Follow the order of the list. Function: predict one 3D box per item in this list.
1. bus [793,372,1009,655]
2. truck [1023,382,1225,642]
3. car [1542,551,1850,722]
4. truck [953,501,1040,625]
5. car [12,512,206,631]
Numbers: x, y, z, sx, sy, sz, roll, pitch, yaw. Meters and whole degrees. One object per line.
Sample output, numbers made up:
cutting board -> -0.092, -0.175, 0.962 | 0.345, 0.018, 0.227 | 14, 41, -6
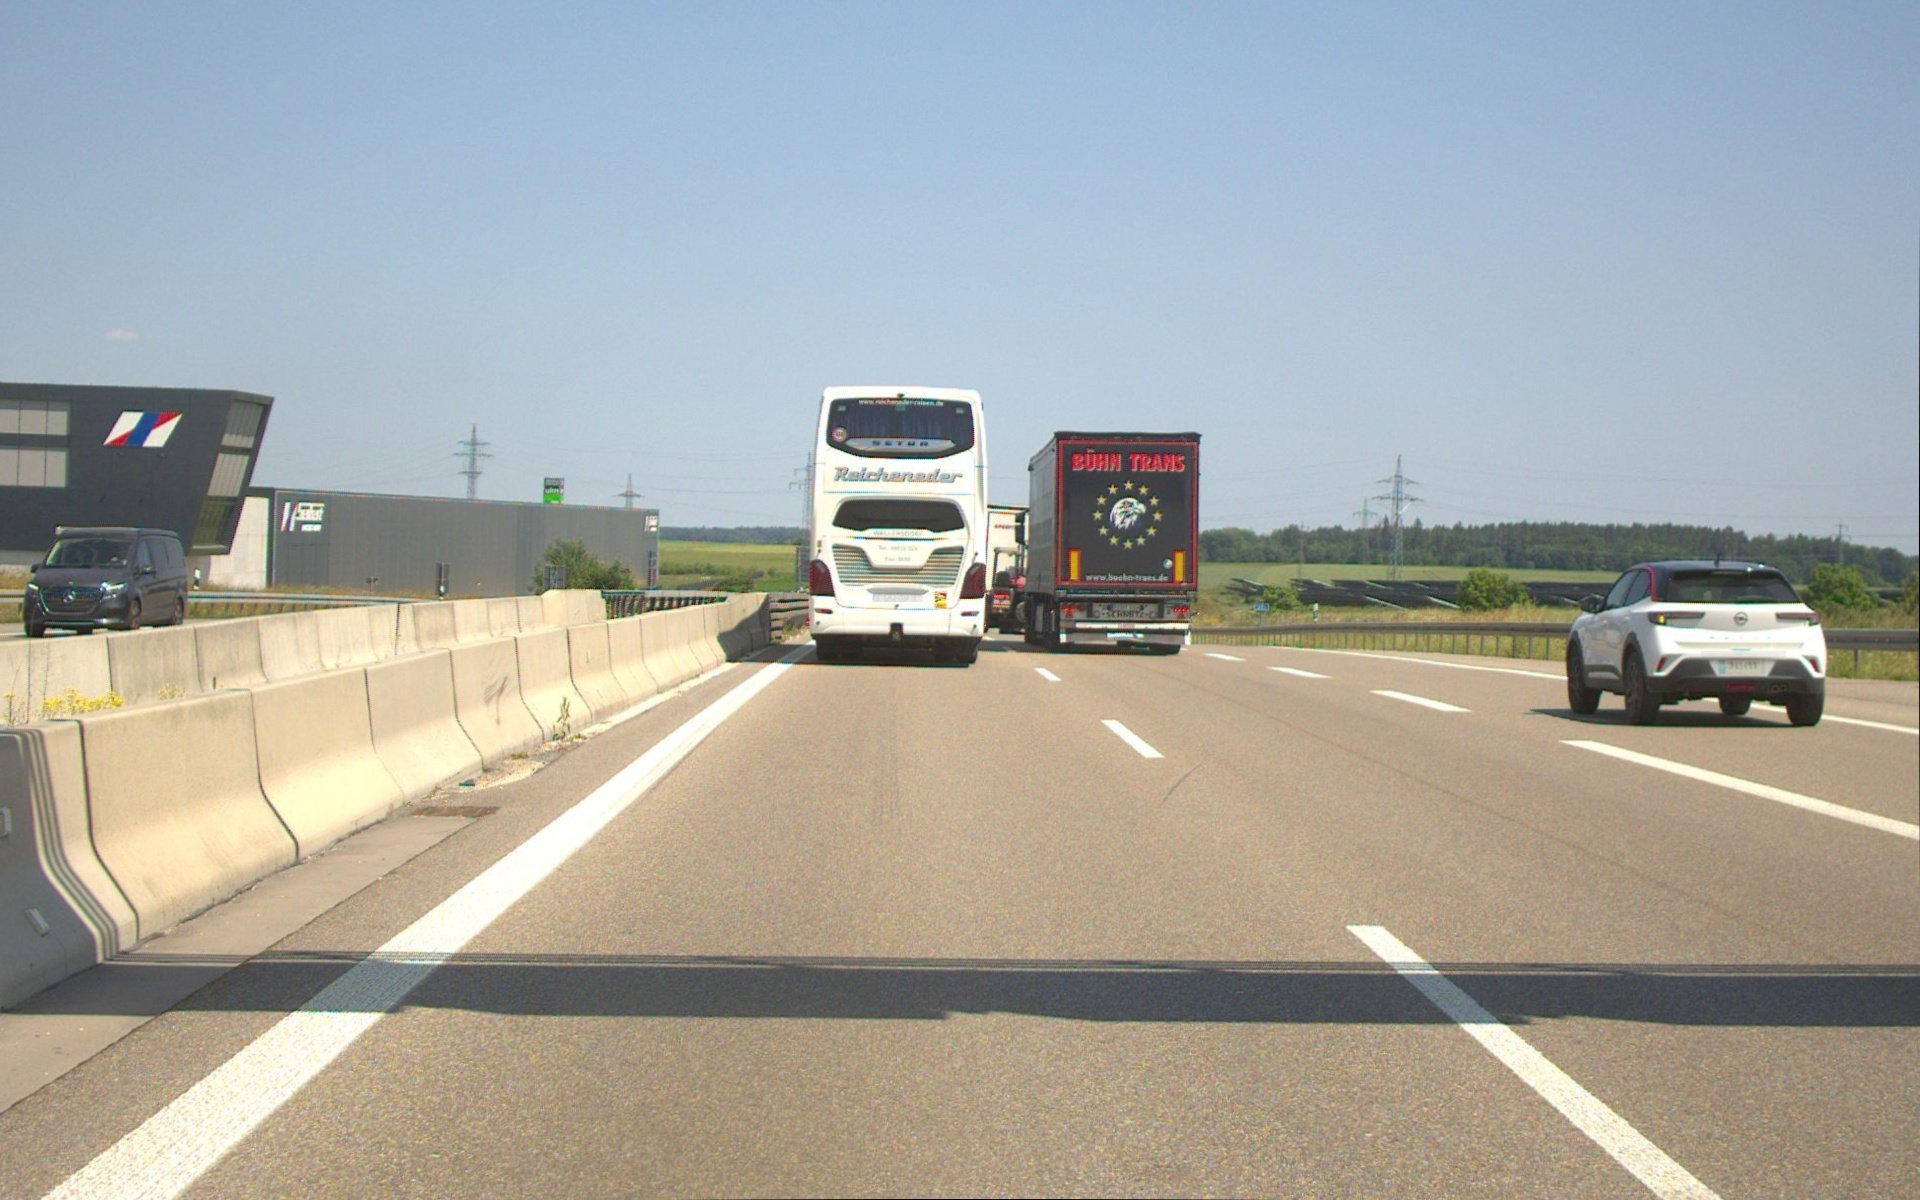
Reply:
bus -> -0.971, -1.371, 53.318 | 2.980, 3.961, 9.106 | 1, 2, -2
truck -> 3.009, -1.470, 67.326 | 3.379, 4.448, 13.566 | 2, -1, 1
car -> 7.078, 0.304, 33.499 | 1.891, 1.524, 4.262 | 1, 1, -3
truck -> 1.109, -1.184, 108.780 | 2.437, 3.776, 6.494 | 1, 1, -2
car -> -15.206, -0.536, 61.739 | 2.148, 2.007, 5.382 | 1, 1, 0
